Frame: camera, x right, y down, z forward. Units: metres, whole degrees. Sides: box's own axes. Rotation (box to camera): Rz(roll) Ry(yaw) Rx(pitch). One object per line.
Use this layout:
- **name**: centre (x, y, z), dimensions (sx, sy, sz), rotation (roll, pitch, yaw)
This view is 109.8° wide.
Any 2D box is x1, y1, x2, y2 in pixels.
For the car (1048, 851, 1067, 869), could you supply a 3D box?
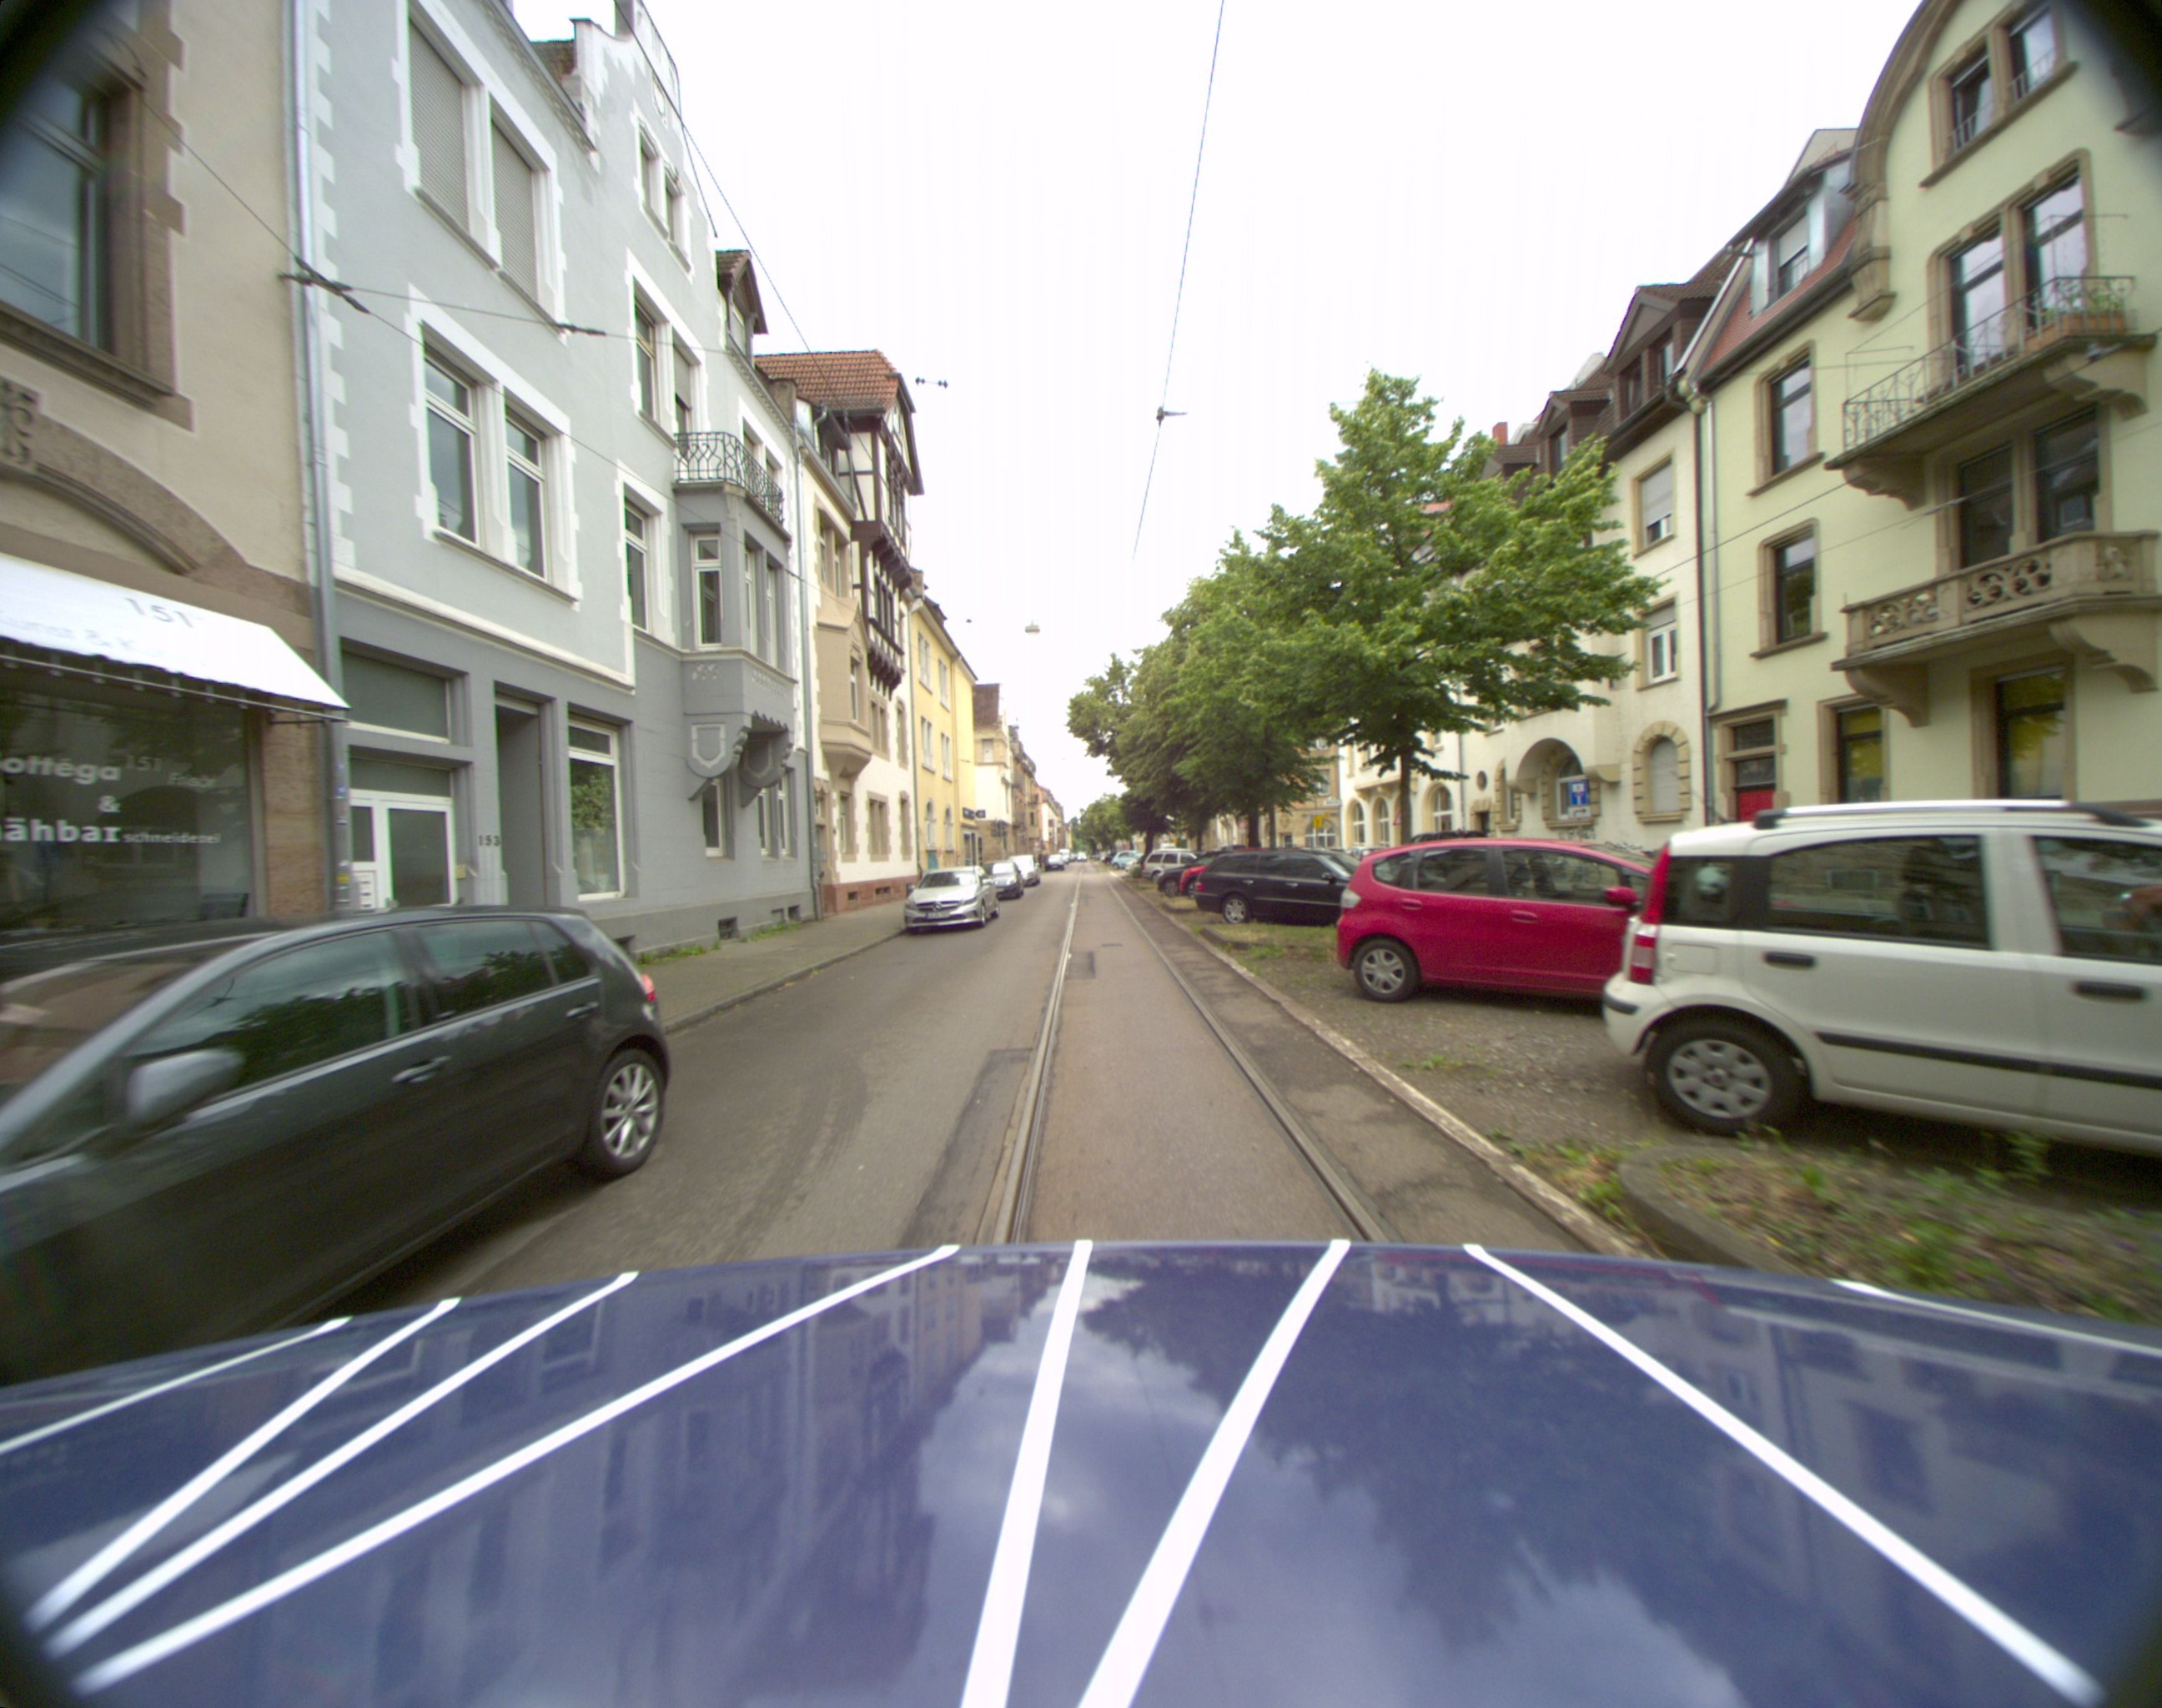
- **car**: centre (-2.320, 0.589, 75.370), dimensions (1.676, 1.520, 4.212), rotation (-3, 1, 0)

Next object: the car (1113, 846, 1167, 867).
- **car**: centre (4.891, 0.201, 63.371), dimensions (3.989, 1.602, 1.902), rotation (-2, -1, 31)

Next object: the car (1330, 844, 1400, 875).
- **car**: centre (12.096, 0.214, 32.564), dimensions (1.639, 1.169, 3.380), rotation (-3, 0, -2)

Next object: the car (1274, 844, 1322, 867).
- **car**: centre (12.178, 0.061, 42.853), dimensions (1.639, 1.169, 3.380), rotation (-3, 0, -2)

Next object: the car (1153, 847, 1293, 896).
- **car**: centre (4.470, 0.561, 24.286), dimensions (3.989, 1.458, 1.902), rotation (-2, -1, 44)

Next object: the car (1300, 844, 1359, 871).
- **car**: centre (12.126, 0.144, 37.245), dimensions (1.639, 1.169, 3.380), rotation (-3, 0, -2)

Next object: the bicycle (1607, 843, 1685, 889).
- **bicycle**: centre (15.132, 0.305, 20.414), dimensions (0.612, 1.120, 1.916), rotation (-5, 0, 0)

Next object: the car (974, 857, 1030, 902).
- **car**: centre (-3.036, 0.945, 29.847), dimensions (1.635, 1.478, 4.213), rotation (-5, 0, 0)

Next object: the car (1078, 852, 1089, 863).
- **car**: centre (0.513, 0.620, 144.037), dimensions (1.998, 2.002, 3.999), rotation (-2, 1, 0)

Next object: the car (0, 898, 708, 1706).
- **car**: centre (-3.180, 1.104, 2.433), dimensions (1.702, 1.504, 4.391), rotation (-5, 0, 0)

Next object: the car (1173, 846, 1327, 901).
- **car**: centre (4.574, 0.538, 20.858), dimensions (3.727, 1.380, 1.793), rotation (-2, -1, 44)

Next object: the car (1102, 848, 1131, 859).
- **car**: centre (5.396, -0.022, 115.458), dimensions (3.991, 1.602, 1.901), rotation (-2, -1, 22)

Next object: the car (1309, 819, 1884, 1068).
- **car**: centre (4.210, 0.630, 6.664), dimensions (1.678, 1.518, 3.803), rotation (-4, 0, -45)

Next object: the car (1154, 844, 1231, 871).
- **car**: centre (6.349, 0.233, 43.310), dimensions (3.991, 1.407, 1.901), rotation (-2, -1, 21)

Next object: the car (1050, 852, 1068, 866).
- **car**: centre (-2.411, 0.528, 83.633), dimensions (1.824, 1.477, 4.000), rotation (-3, 0, 0)

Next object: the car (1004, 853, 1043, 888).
- **car**: centre (-2.943, 0.823, 39.852), dimensions (1.635, 1.520, 4.212), rotation (-3, 1, 0)

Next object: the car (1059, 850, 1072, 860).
- **car**: centre (-2.364, 0.133, 117.601), dimensions (1.824, 1.477, 4.000), rotation (-3, 0, 0)

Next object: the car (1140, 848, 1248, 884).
- **car**: centre (4.693, 0.521, 31.788), dimensions (3.989, 1.407, 1.902), rotation (-2, -1, 39)

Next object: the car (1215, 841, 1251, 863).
- **car**: centre (12.174, -0.188, 61.202), dimensions (1.796, 1.596, 4.512), rotation (-3, 0, -2)

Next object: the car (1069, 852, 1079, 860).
- **car**: centre (-1.368, 0.342, 155.035), dimensions (1.824, 1.477, 4.000), rotation (-3, 0, 0)

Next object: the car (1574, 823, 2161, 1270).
- **car**: centre (4.306, 0.654, 3.256), dimensions (3.418, 1.518, 1.693), rotation (-1, 2, 43)

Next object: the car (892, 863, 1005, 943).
- **car**: centre (-3.058, 1.080, 18.428), dimensions (1.793, 1.504, 4.213), rotation (-5, 0, 1)

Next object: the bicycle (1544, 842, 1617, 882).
- **bicycle**: centre (15.051, 0.242, 22.962), dimensions (0.613, 1.120, 1.914), rotation (-5, 1, -11)

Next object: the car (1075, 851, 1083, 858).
- **car**: centre (-0.561, 0.080, 188.465), dimensions (1.824, 1.477, 4.000), rotation (-3, 0, 0)

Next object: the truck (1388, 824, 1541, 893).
- **truck**: centre (11.990, 0.101, 24.362), dimensions (2.150, 1.845, 6.064), rotation (-3, 0, 4)

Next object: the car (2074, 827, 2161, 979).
- **car**: centre (11.836, 0.478, 6.228), dimensions (1.856, 1.513, 4.193), rotation (-2, 0, -2)

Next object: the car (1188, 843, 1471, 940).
- **car**: centre (4.433, 0.642, 14.122), dimensions (1.889, 1.458, 4.595), rotation (-3, 1, -44)

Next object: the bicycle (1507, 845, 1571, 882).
- **bicycle**: centre (15.041, 0.306, 25.031), dimensions (0.613, 1.120, 1.914), rotation (-5, 1, -11)

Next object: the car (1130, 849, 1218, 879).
- **car**: centre (4.686, 0.518, 38.588), dimensions (3.989, 1.407, 1.902), rotation (-2, -1, 39)
